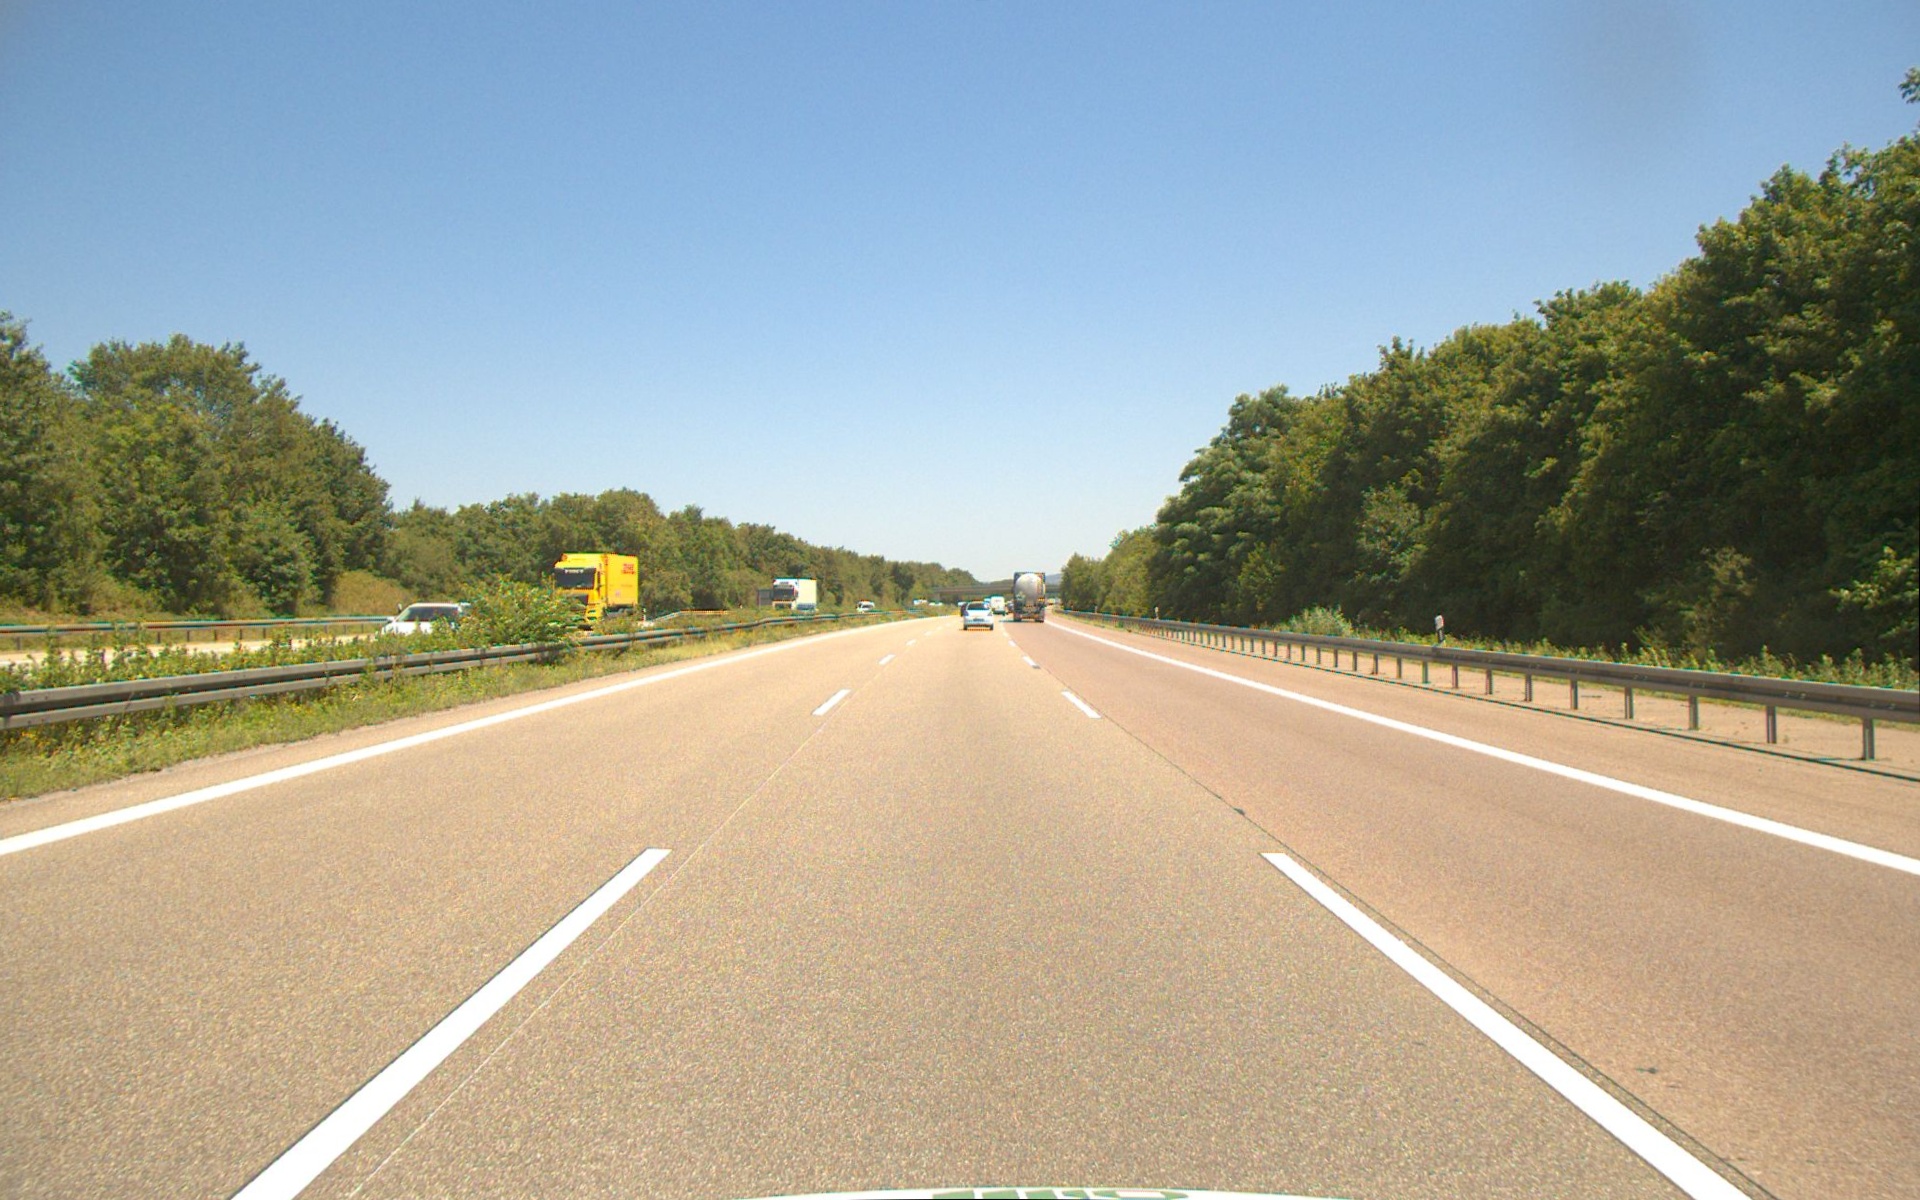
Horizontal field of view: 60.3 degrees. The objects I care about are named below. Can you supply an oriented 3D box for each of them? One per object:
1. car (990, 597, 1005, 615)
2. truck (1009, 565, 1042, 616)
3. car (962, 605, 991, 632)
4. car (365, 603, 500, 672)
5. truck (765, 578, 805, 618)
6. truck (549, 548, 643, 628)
[{"bbox_3d":[5.128,0.808,225.933,1.952,2.384,4.387,0,0,1],"label":"car"},{"bbox_3d":[5.419,-0.741,138.631,2.682,4.123,10.456,0,0,2],"label":"truck"},{"bbox_3d":[0.916,1.009,91.403,1.594,1.505,4.000,0,0,1],"label":"car"},{"bbox_3d":[-12.740,0.861,40.271,1.801,1.562,4.918,0,0,-1],"label":"car"},{"bbox_3d":[-17.711,-0.175,168.162,3.193,4.020,6.102,0,0,2],"label":"truck"},{"bbox_3d":[-19.864,-0.552,91.044,2.693,4.111,10.792,0,-1,0],"label":"truck"}]
